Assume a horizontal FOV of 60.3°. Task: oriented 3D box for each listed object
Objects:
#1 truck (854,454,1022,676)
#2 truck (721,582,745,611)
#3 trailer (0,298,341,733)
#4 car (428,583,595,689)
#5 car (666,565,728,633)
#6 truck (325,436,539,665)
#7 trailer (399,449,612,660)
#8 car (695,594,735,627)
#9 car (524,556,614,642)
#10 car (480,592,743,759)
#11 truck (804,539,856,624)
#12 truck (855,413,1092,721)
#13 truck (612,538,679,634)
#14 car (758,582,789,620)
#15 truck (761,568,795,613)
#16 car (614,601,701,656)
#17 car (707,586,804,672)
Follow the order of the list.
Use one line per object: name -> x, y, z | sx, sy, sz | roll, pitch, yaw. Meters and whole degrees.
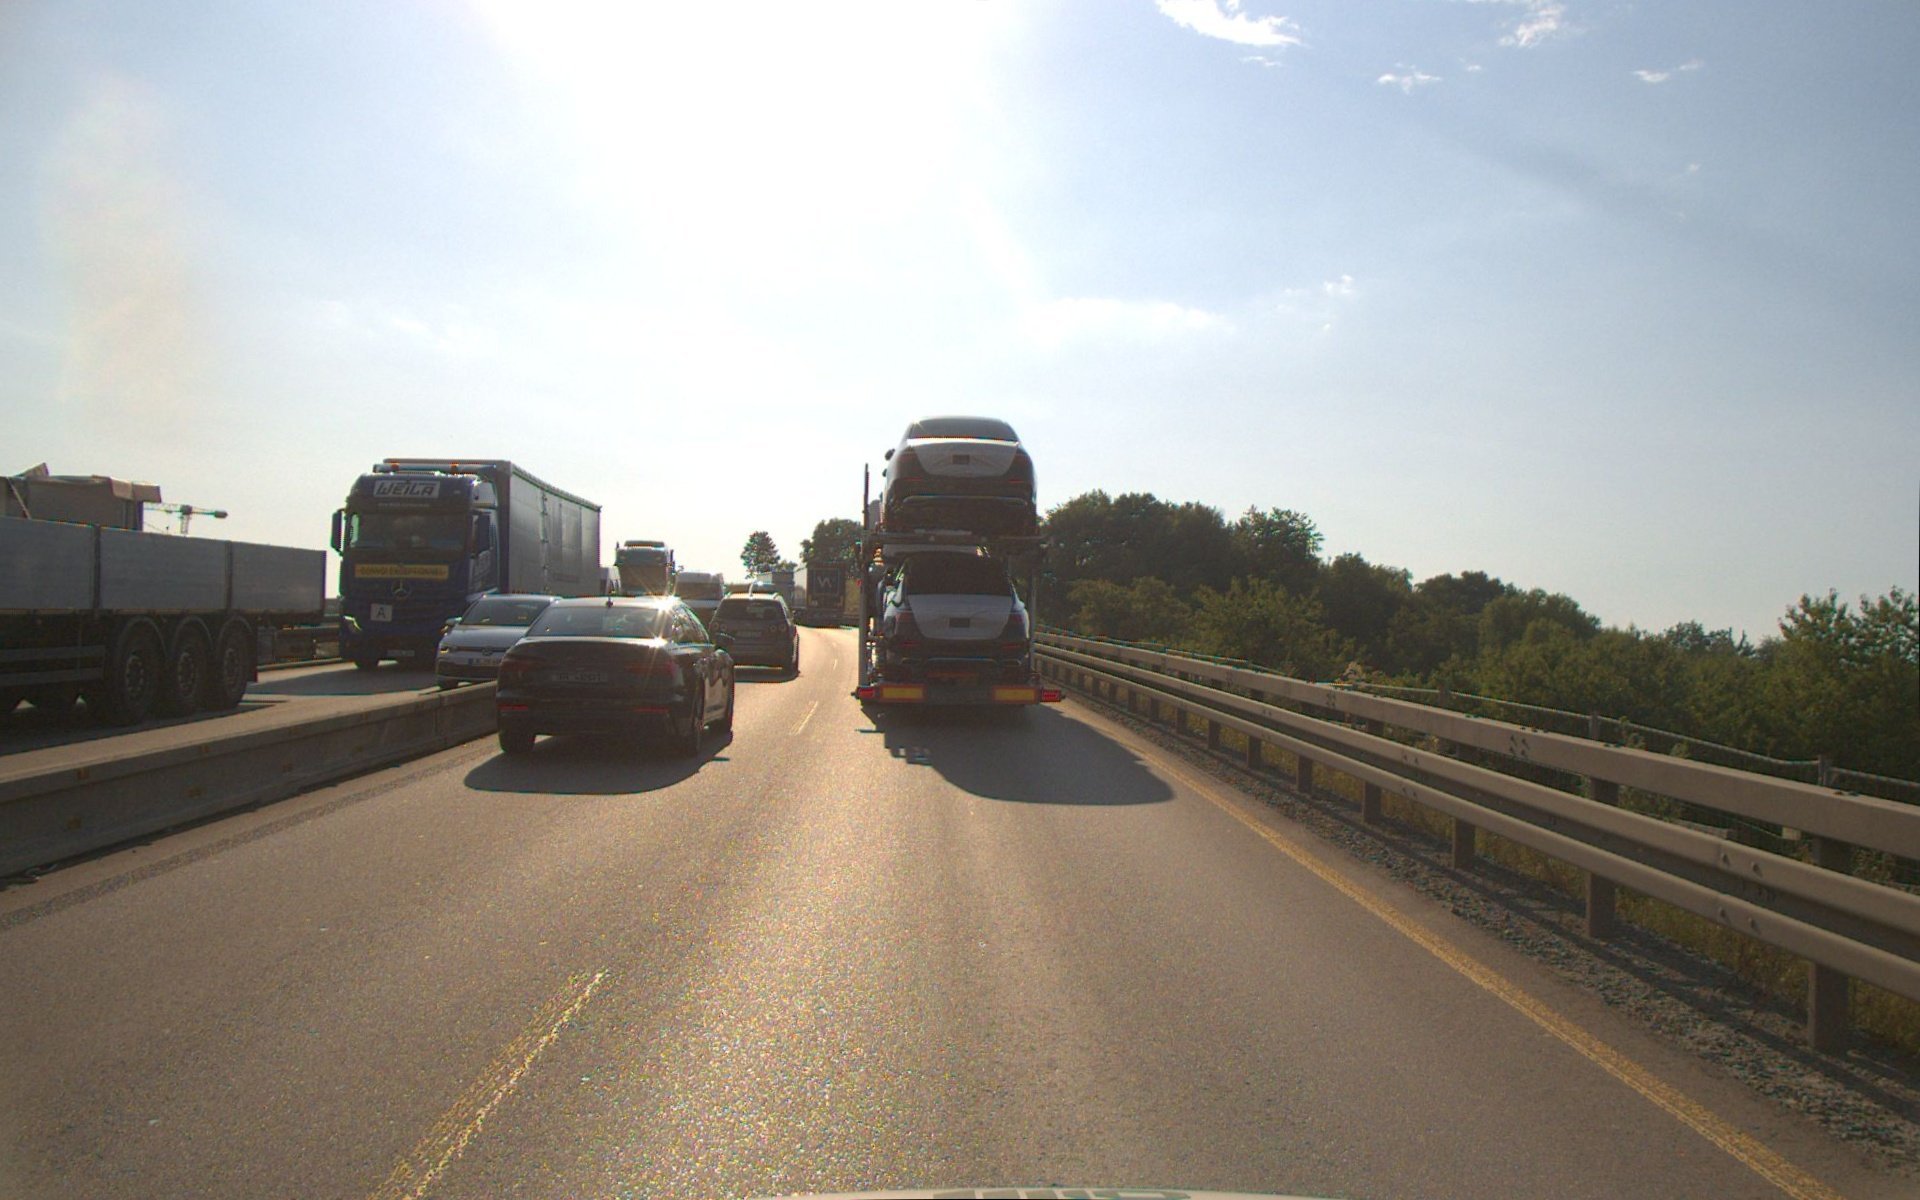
truck -> -0.699, -0.598, 34.004 | 2.782, 3.858, 9.977 | 1, 0, -4
truck -> -25.973, -0.370, 189.413 | 2.541, 3.226, 6.667 | 1, 0, -6
trailer -> -9.708, -0.739, 16.441 | 2.469, 3.790, 13.970 | 1, 0, -3
car -> -7.066, 0.536, 26.463 | 1.724, 1.534, 4.251 | 1, 0, -3
car -> -10.416, -0.028, 65.915 | 2.017, 2.544, 6.767 | 1, 0, -6
truck -> -10.298, -0.890, 32.850 | 2.452, 4.137, 5.664 | 1, 0, -1
trailer -> -10.651, -0.896, 40.508 | 2.262, 4.203, 14.586 | 1, 0, -5
car -> -12.974, 0.543, 87.821 | 1.834, 1.724, 4.591 | 1, 0, -5
car -> -12.576, -0.013, 53.554 | 2.116, 2.602, 5.581 | 1, 0, -6
car -> -3.347, 0.648, 16.837 | 1.896, 1.423, 4.957 | 1, 0, -4
truck -> -8.605, -1.150, 109.921 | 3.221, 5.328, 9.926 | 1, 0, -5
truck -> -0.132, -0.367, 24.618 | 2.743, 3.558, 10.598 | 1, 0, -3
truck -> -14.102, -0.610, 74.508 | 2.455, 4.137, 5.876 | 1, 0, -6
car -> -12.623, 0.085, 112.180 | 1.883, 2.536, 5.403 | 1, 0, -4
truck -> -15.462, -0.758, 140.914 | 2.481, 3.712, 8.897 | 1, 0, -4
car -> -8.243, 0.747, 45.431 | 1.724, 1.402, 4.765 | 1, 0, -3
car -> -4.109, 0.563, 33.696 | 1.658, 1.624, 3.998 | 1, 0, -3
